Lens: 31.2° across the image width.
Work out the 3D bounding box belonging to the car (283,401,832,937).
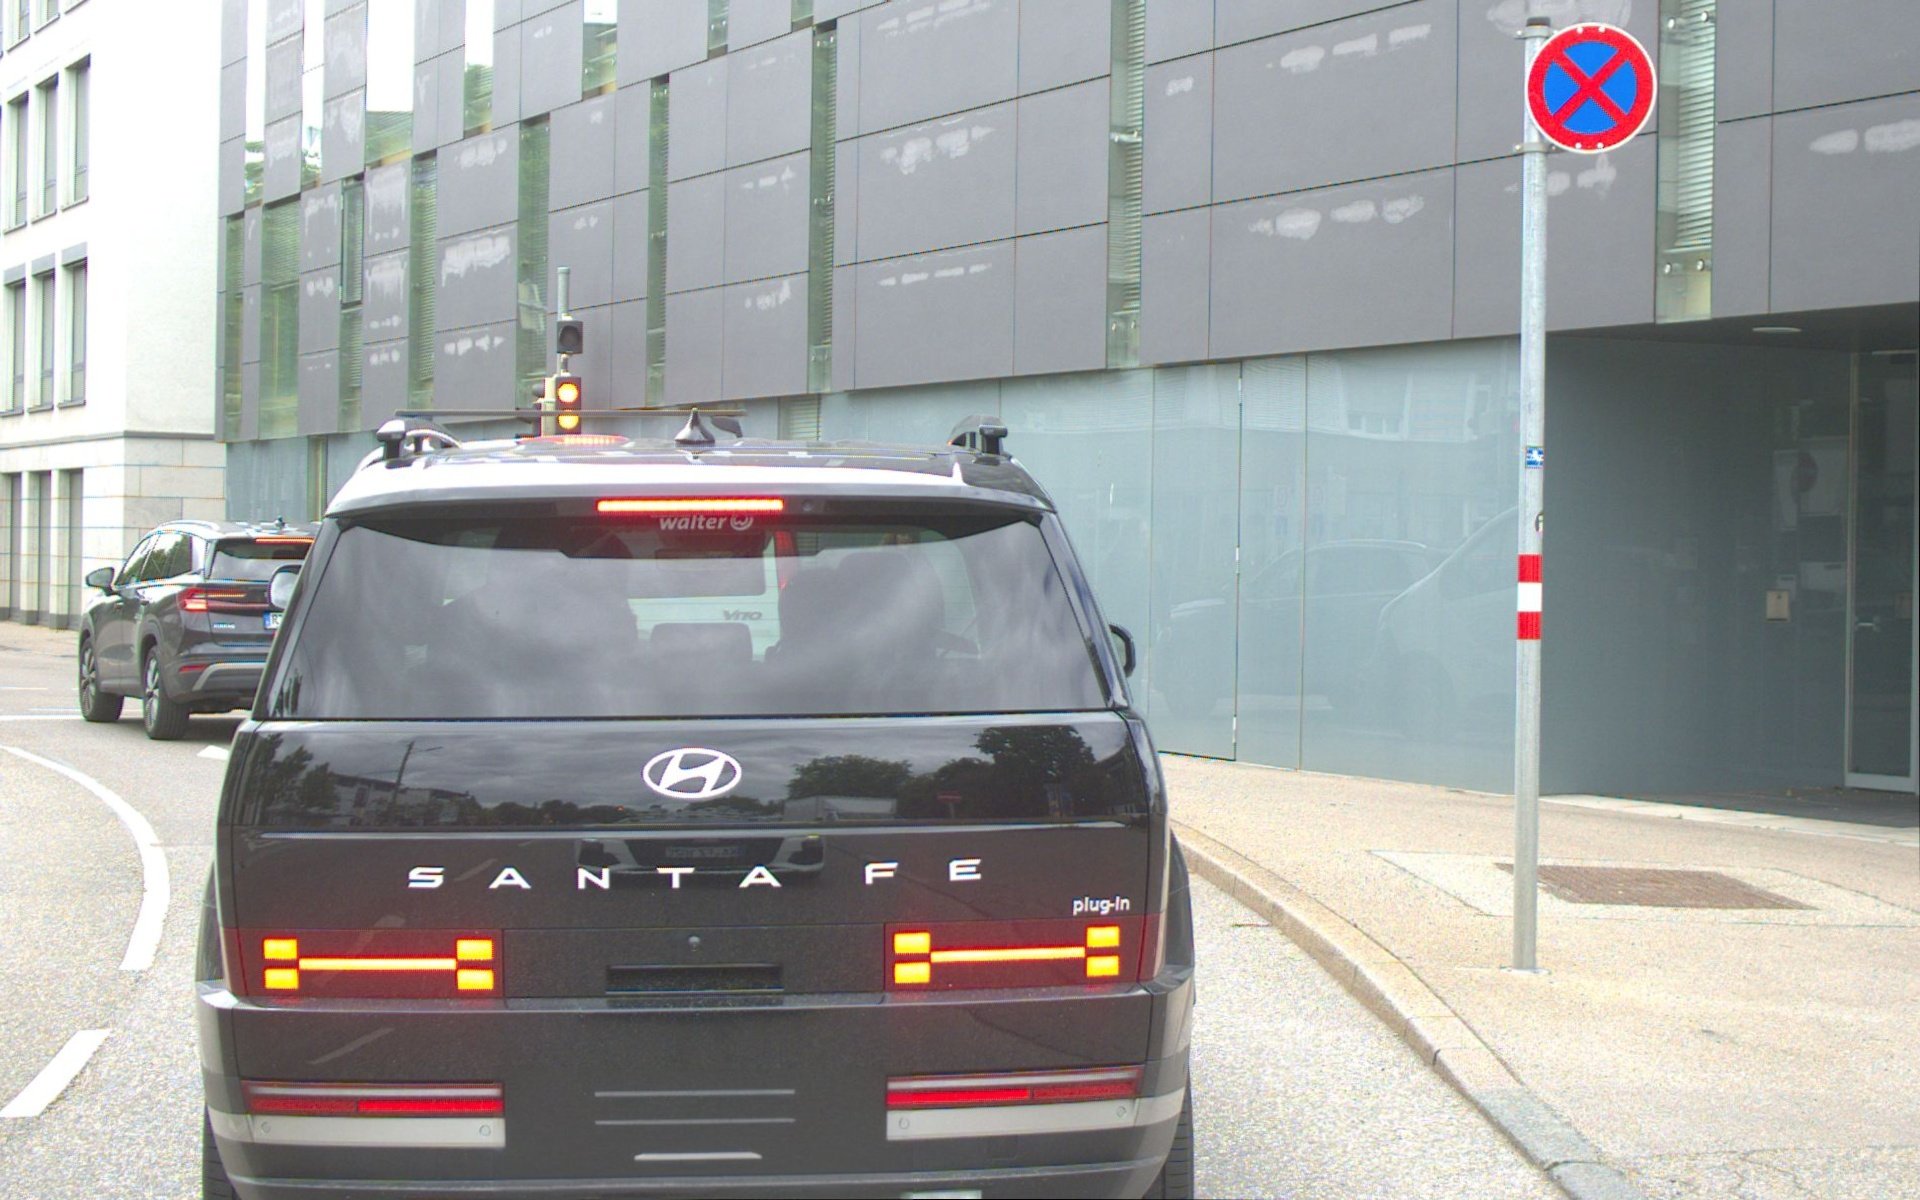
[{"bbox_3d":[-1.936,0.225,15.146,1.931,1.987,4.536,1,1,-12],"label":"car"}]

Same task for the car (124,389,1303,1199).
[{"bbox_3d":[-0.637,0.496,7.770,1.908,1.743,4.398,0,1,-7],"label":"car"}]

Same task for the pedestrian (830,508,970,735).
[{"bbox_3d":[-0.461,0.156,26.079,0.711,1.688,0.866,1,0,-27],"label":"pedestrian"}]

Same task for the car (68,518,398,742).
[{"bbox_3d":[-5.764,0.177,26.888,1.759,1.603,4.189,1,1,-23],"label":"car"}]
